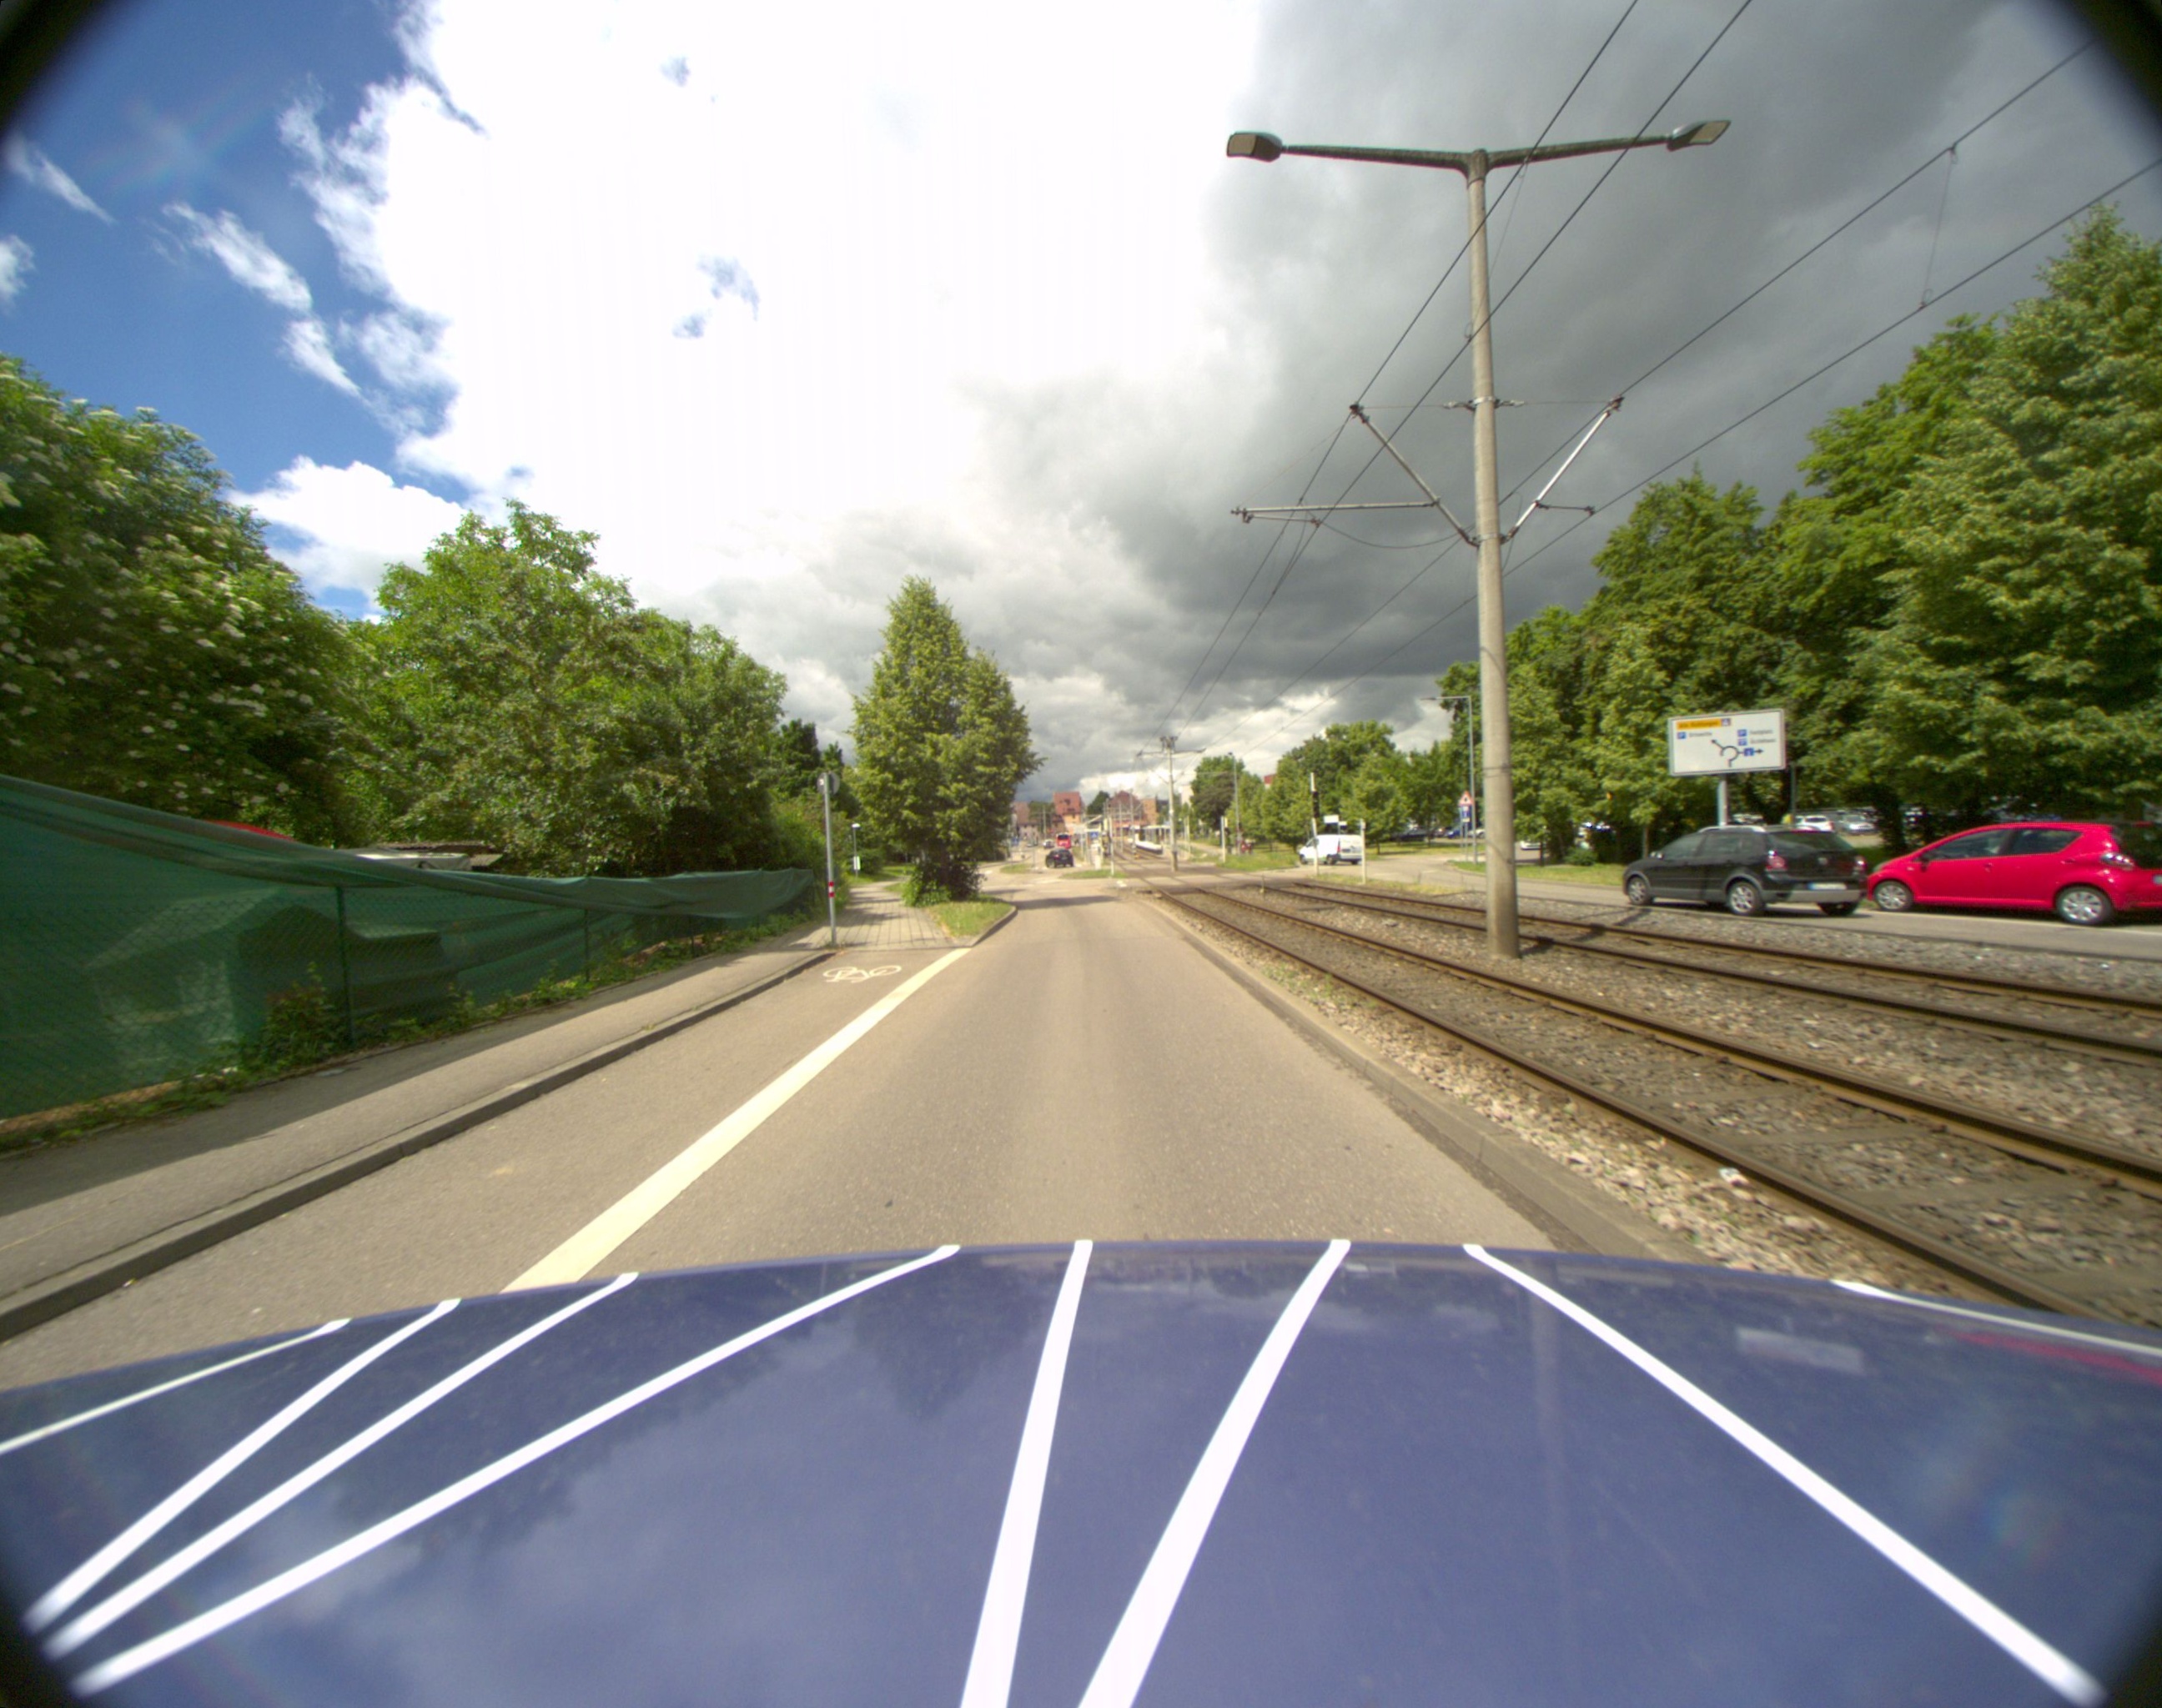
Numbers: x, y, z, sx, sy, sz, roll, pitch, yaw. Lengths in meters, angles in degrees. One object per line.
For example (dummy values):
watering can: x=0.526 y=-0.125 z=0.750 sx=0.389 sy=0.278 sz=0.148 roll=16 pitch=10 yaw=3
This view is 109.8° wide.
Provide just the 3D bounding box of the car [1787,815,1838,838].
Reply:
car: x=51.940 y=-1.997 z=54.016 sx=1.754 sy=1.412 sz=4.006 roll=-3 pitch=2 yaw=32

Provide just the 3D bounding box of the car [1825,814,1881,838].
car: x=53.714 y=-1.975 z=52.933 sx=1.754 sy=1.412 sz=4.006 roll=-3 pitch=2 yaw=32

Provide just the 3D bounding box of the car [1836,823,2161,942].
car: x=14.337 y=0.318 z=11.719 sx=1.617 sy=1.443 sz=3.660 roll=-4 pitch=2 yaw=-3

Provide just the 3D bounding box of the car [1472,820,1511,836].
car: x=44.867 y=-2.810 z=83.099 sx=1.594 sy=1.631 sz=3.900 roll=-4 pitch=2 yaw=-12

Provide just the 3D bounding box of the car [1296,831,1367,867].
car: x=15.761 y=-0.342 z=48.111 sx=1.881 sy=2.007 sz=5.229 roll=-4 pitch=2 yaw=-11

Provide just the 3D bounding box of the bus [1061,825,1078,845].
bus: x=-2.340 y=-3.836 z=154.925 sx=2.923 sy=3.864 sz=10.378 roll=-3 pitch=1 yaw=1

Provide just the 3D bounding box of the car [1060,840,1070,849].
car: x=-2.861 y=-1.676 z=136.971 sx=1.738 sy=1.501 sz=3.514 roll=-4 pitch=2 yaw=1

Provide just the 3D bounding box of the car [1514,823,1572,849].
car: x=35.185 y=-1.366 z=57.813 sx=4.356 sy=1.680 sz=1.738 roll=-5 pitch=2 yaw=-29

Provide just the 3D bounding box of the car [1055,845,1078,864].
car: x=-1.356 y=-0.002 z=68.768 sx=1.858 sy=1.576 sz=4.323 roll=-2 pitch=1 yaw=-3

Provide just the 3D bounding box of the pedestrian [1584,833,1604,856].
pedestrian: x=33.402 y=-0.626 z=49.465 sx=0.898 sy=1.449 sz=0.749 roll=-5 pitch=2 yaw=-32

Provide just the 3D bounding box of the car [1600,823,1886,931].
car: x=11.593 y=0.310 z=13.730 sx=1.617 sy=1.565 sz=3.999 roll=-4 pitch=2 yaw=0
